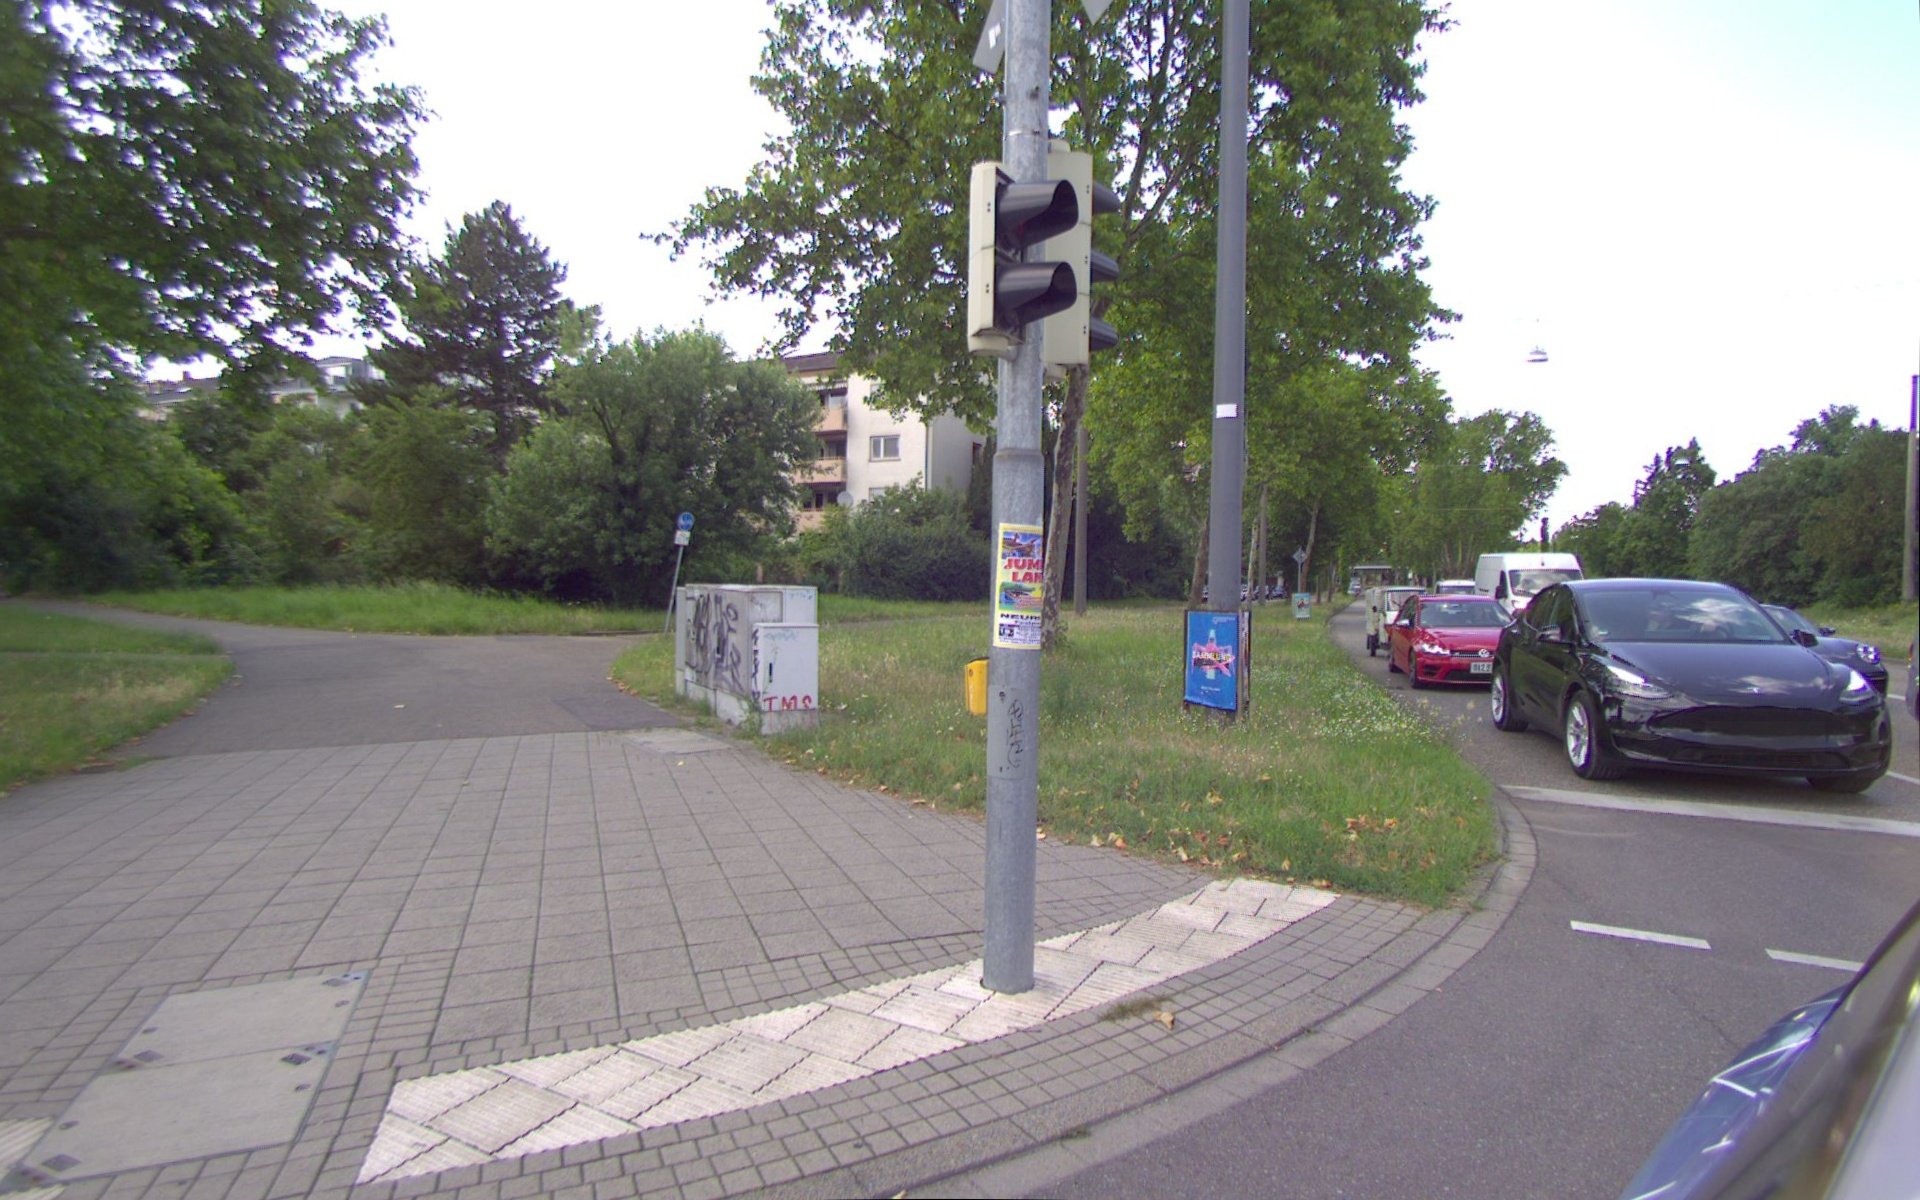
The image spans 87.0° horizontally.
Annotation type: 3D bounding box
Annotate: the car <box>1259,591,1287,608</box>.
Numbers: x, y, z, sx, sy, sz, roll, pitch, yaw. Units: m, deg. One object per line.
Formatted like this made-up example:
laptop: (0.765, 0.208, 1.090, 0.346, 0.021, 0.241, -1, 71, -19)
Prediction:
car: (31.199, -0.049, 100.786, 1.763, 1.616, 3.614, 1, -1, 32)

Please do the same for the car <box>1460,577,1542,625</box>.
car: (19.332, -0.005, 36.327, 1.819, 1.638, 4.133, 0, 1, 17)

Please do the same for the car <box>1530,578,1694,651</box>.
car: (13.816, 0.236, 21.735, 1.740, 1.392, 4.322, -1, 1, 16)

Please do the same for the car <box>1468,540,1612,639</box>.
car: (16.494, -0.319, 29.182, 2.196, 2.561, 5.905, -1, 1, 16)

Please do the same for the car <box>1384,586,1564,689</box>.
car: (8.239, 0.505, 16.641, 1.777, 1.408, 4.480, -1, 1, 16)

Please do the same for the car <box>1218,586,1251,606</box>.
car: (23.745, -0.362, 87.465, 1.763, 1.616, 3.614, 1, -1, 32)

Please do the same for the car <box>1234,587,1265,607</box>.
car: (26.103, -0.268, 91.133, 1.763, 1.616, 3.614, 1, -1, 32)

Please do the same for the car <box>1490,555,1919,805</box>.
car: (6.334, 0.492, 9.176, 1.906, 1.672, 4.555, -1, 1, 18)

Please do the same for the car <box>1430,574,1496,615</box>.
car: (21.763, -0.289, 43.936, 1.740, 1.667, 4.322, 1, 1, 16)

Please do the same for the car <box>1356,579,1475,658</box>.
car: (10.168, 0.331, 22.900, 1.777, 1.589, 4.480, -1, 1, 16)

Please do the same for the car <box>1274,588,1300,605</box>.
car: (34.829, -0.375, 107.722, 1.763, 1.616, 3.614, 1, -1, 32)

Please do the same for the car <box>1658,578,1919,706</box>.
car: (11.558, 0.479, 14.196, 1.780, 1.527, 3.978, -1, 1, 17)

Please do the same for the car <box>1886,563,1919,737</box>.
car: (9.695, 0.512, 7.821, 1.904, 1.672, 4.480, -1, 1, 16)

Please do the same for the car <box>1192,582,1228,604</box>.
car: (19.666, -0.539, 79.495, 1.763, 1.616, 3.614, 1, -1, 32)

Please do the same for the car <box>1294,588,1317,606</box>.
car: (39.892, -0.323, 116.841, 1.763, 1.962, 3.614, 1, -1, 32)
